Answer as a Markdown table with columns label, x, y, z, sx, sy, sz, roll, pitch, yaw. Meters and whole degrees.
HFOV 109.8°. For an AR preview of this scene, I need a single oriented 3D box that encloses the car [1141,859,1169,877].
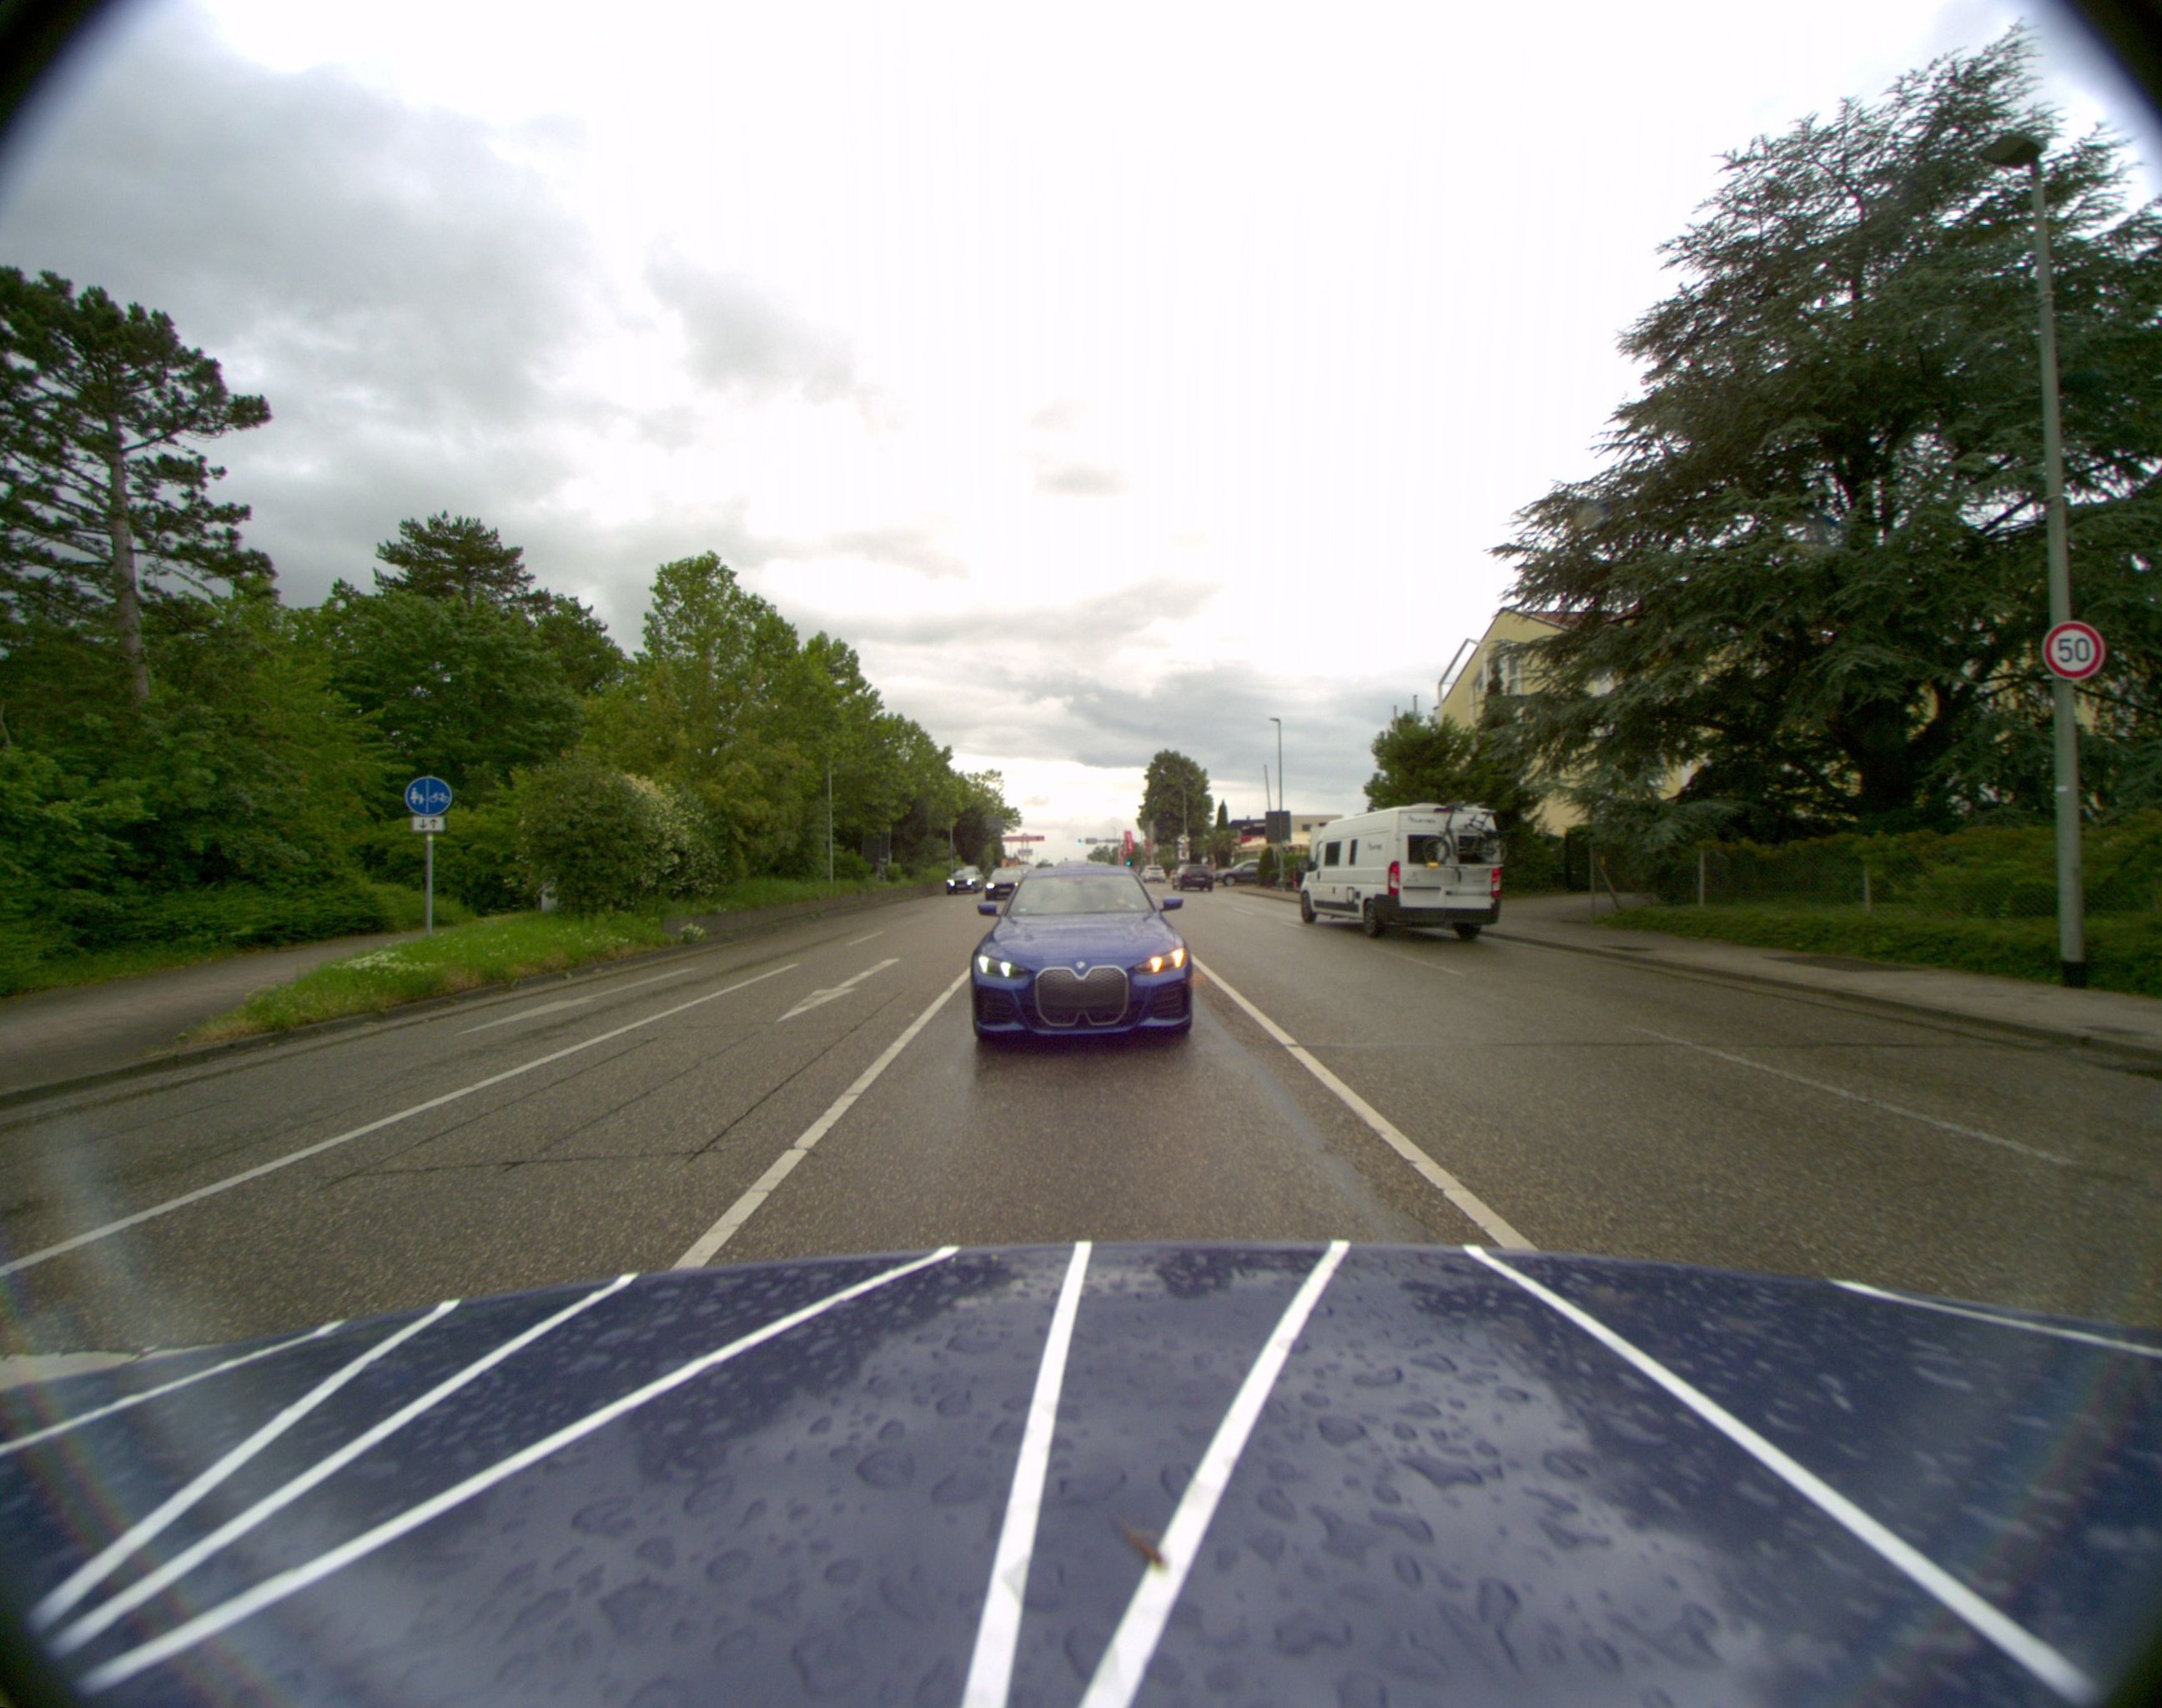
| label | x | y | z | sx | sy | sz | roll | pitch | yaw |
| --- | --- | --- | --- | --- | --- | --- | --- | --- | --- |
| car | 6.180 | 1.155 | 63.793 | 1.751 | 1.389 | 3.801 | -1 | 0 | -2 |

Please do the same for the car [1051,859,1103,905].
| label | x | y | z | sx | sy | sz | roll | pitch | yaw |
| --- | --- | --- | --- | --- | --- | --- | --- | --- | --- |
| car | -0.140 | 1.016 | 29.000 | 1.807 | 1.543 | 4.000 | -1 | 0 | 0 |

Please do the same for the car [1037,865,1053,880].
| label | x | y | z | sx | sy | sz | roll | pitch | yaw |
| --- | --- | --- | --- | --- | --- | --- | --- | --- | --- |
| car | -4.350 | 2.235 | 93.083 | 1.829 | 1.612 | 3.841 | -1 | 0 | -1 |

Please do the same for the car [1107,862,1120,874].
| label | x | y | z | sx | sy | sz | roll | pitch | yaw |
| --- | --- | --- | --- | --- | --- | --- | --- | --- | --- |
| car | 4.732 | 2.060 | 111.545 | 1.704 | 1.590 | 3.548 | 0 | 1 | -2 |

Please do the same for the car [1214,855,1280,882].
| label | x | y | z | sx | sy | sz | roll | pitch | yaw |
| --- | --- | --- | --- | --- | --- | --- | --- | --- | --- |
| car | 10.641 | 0.948 | 48.903 | 3.930 | 1.642 | 1.719 | -1 | 0 | 6 |

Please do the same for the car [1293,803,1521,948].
| label | x | y | z | sx | sy | sz | roll | pitch | yaw |
| --- | --- | --- | --- | --- | --- | --- | --- | --- | --- |
| car | 6.514 | 0.406 | 16.205 | 2.303 | 2.513 | 5.773 | 1 | -1 | -1 |

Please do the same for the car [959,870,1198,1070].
| label | x | y | z | sx | sy | sz | roll | pitch | yaw |
| --- | --- | --- | --- | --- | --- | --- | --- | --- | --- |
| car | -0.028 | 0.933 | 7.968 | 1.804 | 1.399 | 4.272 | -1 | 0 | 0 |

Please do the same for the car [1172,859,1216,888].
| label | x | y | z | sx | sy | sz | roll | pitch | yaw |
| --- | --- | --- | --- | --- | --- | --- | --- | --- | --- |
| car | 6.293 | 1.042 | 42.691 | 1.780 | 1.493 | 4.471 | -1 | 0 | -1 |

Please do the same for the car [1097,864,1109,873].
| label | x | y | z | sx | sy | sz | roll | pitch | yaw |
| --- | --- | --- | --- | --- | --- | --- | --- | --- | --- |
| car | 4.005 | 2.635 | 137.844 | 1.790 | 1.451 | 4.431 | -1 | 0 | -3 |

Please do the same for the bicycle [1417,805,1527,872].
| label | x | y | z | sx | sy | sz | roll | pitch | yaw |
| --- | --- | --- | --- | --- | --- | --- | --- | --- | --- |
| bicycle | 6.711 | -0.258 | 13.077 | 1.640 | 1.119 | 0.468 | 1 | 0 | -1 |

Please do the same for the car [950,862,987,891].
| label | x | y | z | sx | sy | sz | roll | pitch | yaw |
| --- | --- | --- | --- | --- | --- | --- | --- | --- | --- |
| car | -6.806 | 1.361 | 46.300 | 1.705 | 1.612 | 3.841 | -3 | -1 | -3 |

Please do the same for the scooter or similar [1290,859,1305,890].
| label | x | y | z | sx | sy | sz | roll | pitch | yaw |
| --- | --- | --- | --- | --- | --- | --- | --- | --- | --- |
| scooter or similar | 10.002 | 0.941 | 35.123 | 0.505 | 1.398 | 1.882 | 0 | 0 | 11 |

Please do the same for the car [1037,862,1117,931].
| label | x | y | z | sx | sy | sz | roll | pitch | yaw |
| --- | --- | --- | --- | --- | --- | --- | --- | --- | --- |
| car | -0.094 | 0.982 | 19.477 | 1.807 | 1.543 | 4.223 | -1 | 0 | 0 |

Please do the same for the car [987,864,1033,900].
| label | x | y | z | sx | sy | sz | roll | pitch | yaw |
| --- | --- | --- | --- | --- | --- | --- | --- | --- | --- |
| car | -3.279 | 1.259 | 35.815 | 1.795 | 1.451 | 4.719 | -2 | 0 | -1 |

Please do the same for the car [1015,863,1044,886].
| label | x | y | z | sx | sy | sz | roll | pitch | yaw |
| --- | --- | --- | --- | --- | --- | --- | --- | --- | --- |
| car | -3.996 | 1.564 | 59.250 | 1.979 | 1.613 | 3.841 | -3 | 1 | -1 |
